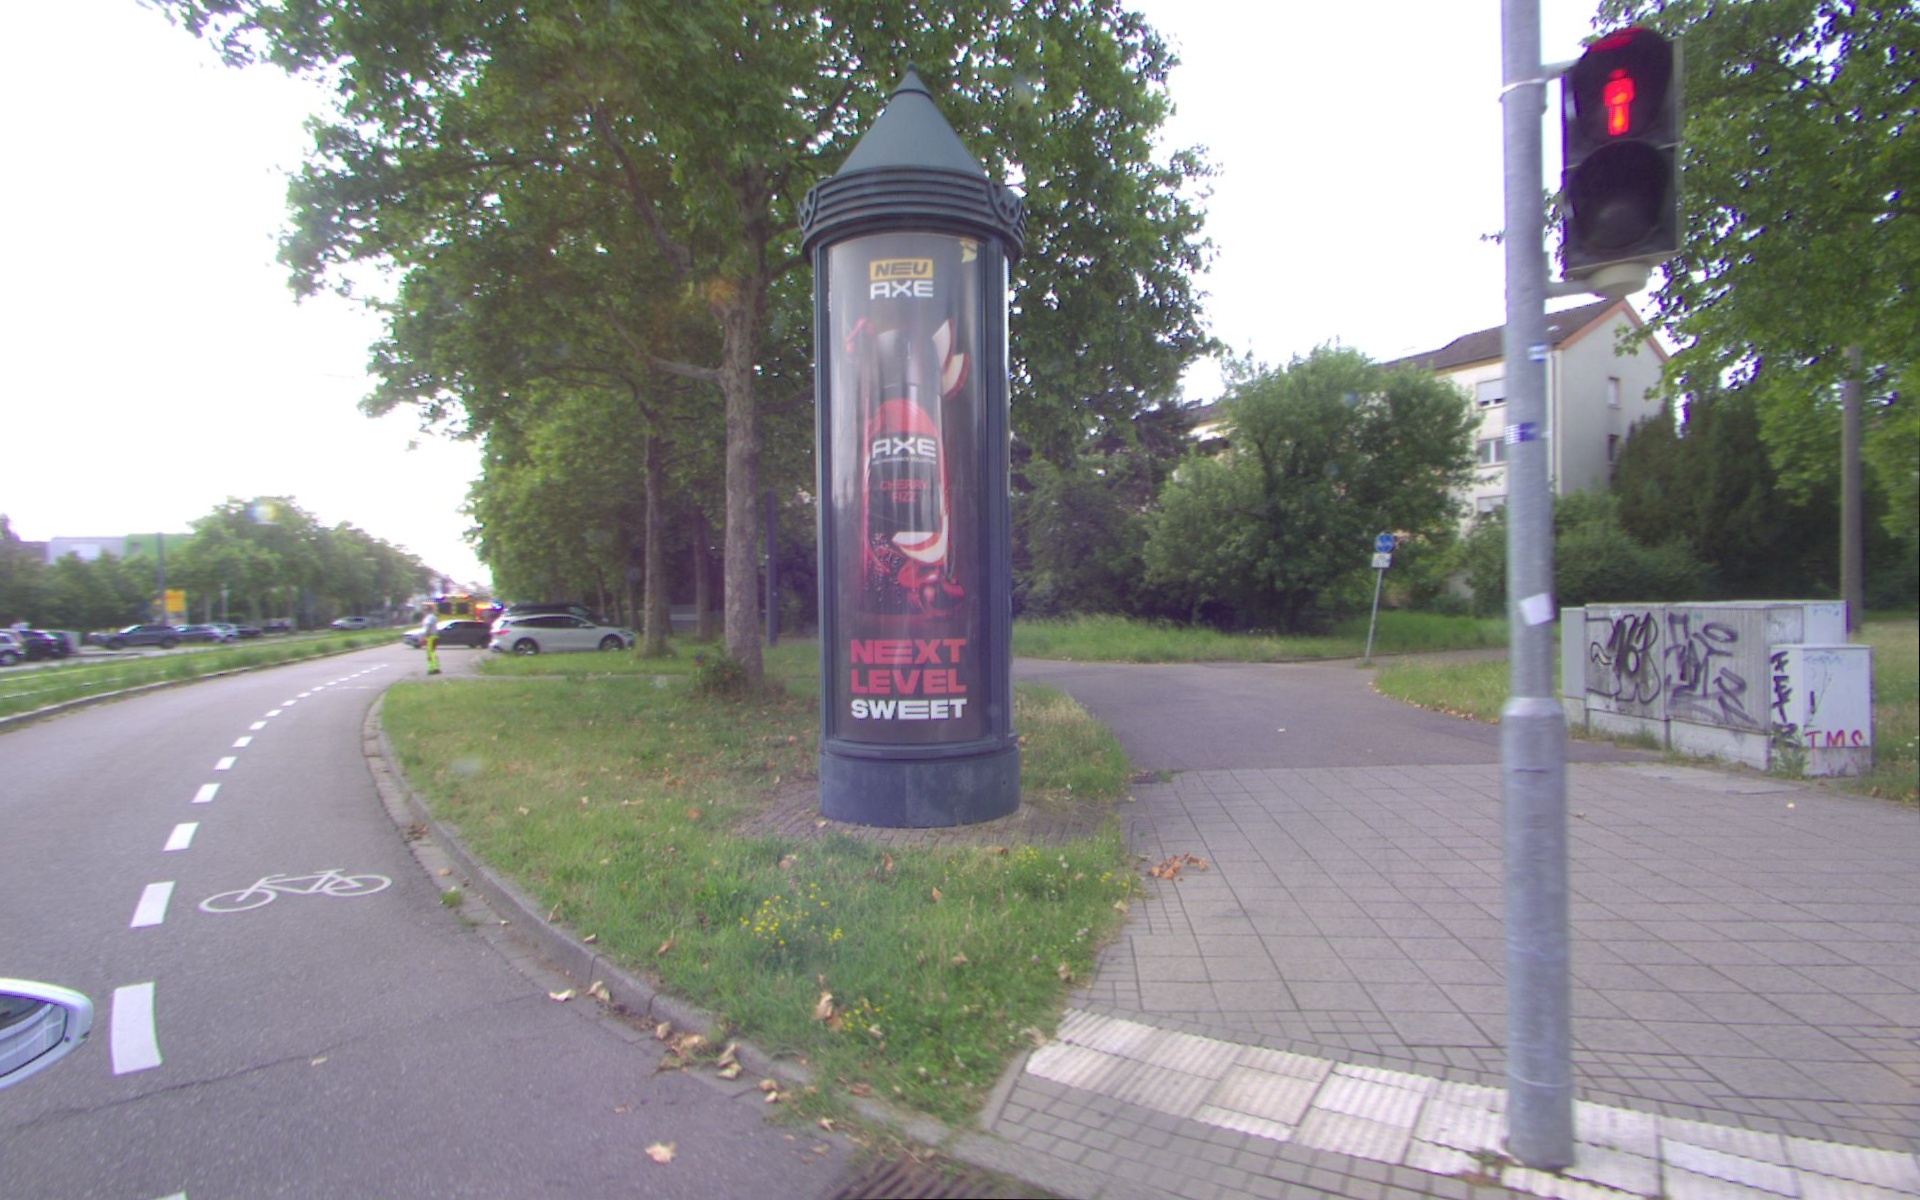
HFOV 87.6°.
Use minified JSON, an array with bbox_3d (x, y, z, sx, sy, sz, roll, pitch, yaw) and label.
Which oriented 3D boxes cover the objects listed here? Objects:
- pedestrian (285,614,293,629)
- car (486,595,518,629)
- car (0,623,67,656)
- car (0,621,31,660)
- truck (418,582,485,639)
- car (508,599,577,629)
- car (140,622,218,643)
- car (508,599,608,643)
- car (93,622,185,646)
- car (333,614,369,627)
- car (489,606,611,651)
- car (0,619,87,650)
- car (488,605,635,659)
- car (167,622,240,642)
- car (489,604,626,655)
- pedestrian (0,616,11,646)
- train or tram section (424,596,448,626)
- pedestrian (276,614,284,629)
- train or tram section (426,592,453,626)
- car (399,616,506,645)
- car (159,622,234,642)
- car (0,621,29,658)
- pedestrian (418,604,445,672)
[{"bbox_3d":[-82.475,2.660,123.086,0.612,1.751,0.644,1,-1,-24],"label":"pedestrian"},{"bbox_3d":[-48.696,1.333,106.433,2.929,3.373,7.433,1,-2,-25],"label":"car"},{"bbox_3d":[-45.235,1.873,47.413,1.838,1.523,4.140,-1,-1,39],"label":"car"},{"bbox_3d":[-42.556,1.755,42.555,1.878,1.650,4.284,-1,-1,38],"label":"car"},{"bbox_3d":[-32.267,0.642,63.859,3.141,3.361,7.500,-1,0,-22],"label":"truck"},{"bbox_3d":[-50.114,1.741,120.285,7.351,3.373,2.961,1,-1,-29],"label":"car"},{"bbox_3d":[-56.649,2.344,72.656,1.882,1.382,4.275,-1,0,44],"label":"car"},{"bbox_3d":[-20.072,1.019,50.091,4.482,2.040,1.994,-1,0,-23],"label":"car"},{"bbox_3d":[-52.004,2.112,63.506,1.881,1.382,4.278,-1,0,42],"label":"car"},{"bbox_3d":[-87.800,2.942,144.354,1.797,1.861,3.977,0,-2,35],"label":"car"},{"bbox_3d":[-16.743,1.156,40.915,4.472,1.665,1.993,-1,-1,-26],"label":"car"},{"bbox_3d":[-48.613,1.798,52.536,1.841,1.523,4.132,-1,-1,44],"label":"car"},{"bbox_3d":[-13.488,1.063,33.893,4.472,1.665,1.993,-1,-1,-26],"label":"car"},{"bbox_3d":[-58.964,2.480,78.073,1.882,1.382,4.275,-1,0,44],"label":"car"},{"bbox_3d":[-14.557,1.058,36.237,4.472,1.665,1.993,-1,-1,-26],"label":"car"},{"bbox_3d":[-54.864,1.780,57.374,0.589,1.697,0.538,-1,1,-33],"label":"pedestrian"},{"bbox_3d":[-66.087,1.359,126.293,2.459,3.644,7.385,-1,0,-29],"label":"train or tram section"},{"bbox_3d":[-82.758,2.621,121.870,0.612,1.751,0.644,1,-1,-24],"label":"pedestrian"},{"bbox_3d":[-59.018,1.044,113.391,2.459,3.644,7.385,-1,0,-29],"label":"train or tram section"},{"bbox_3d":[-26.053,1.544,51.498,1.822,1.411,4.564,-1,-1,44],"label":"car"},{"bbox_3d":[-57.743,2.424,75.793,1.882,1.382,4.275,-1,0,44],"label":"car"},{"bbox_3d":[-44.367,1.773,44.417,1.878,1.650,4.284,-1,-1,38],"label":"car"},{"bbox_3d":[-13.474,0.972,25.547,0.578,1.706,0.492,0,0,-26],"label":"pedestrian"}]
